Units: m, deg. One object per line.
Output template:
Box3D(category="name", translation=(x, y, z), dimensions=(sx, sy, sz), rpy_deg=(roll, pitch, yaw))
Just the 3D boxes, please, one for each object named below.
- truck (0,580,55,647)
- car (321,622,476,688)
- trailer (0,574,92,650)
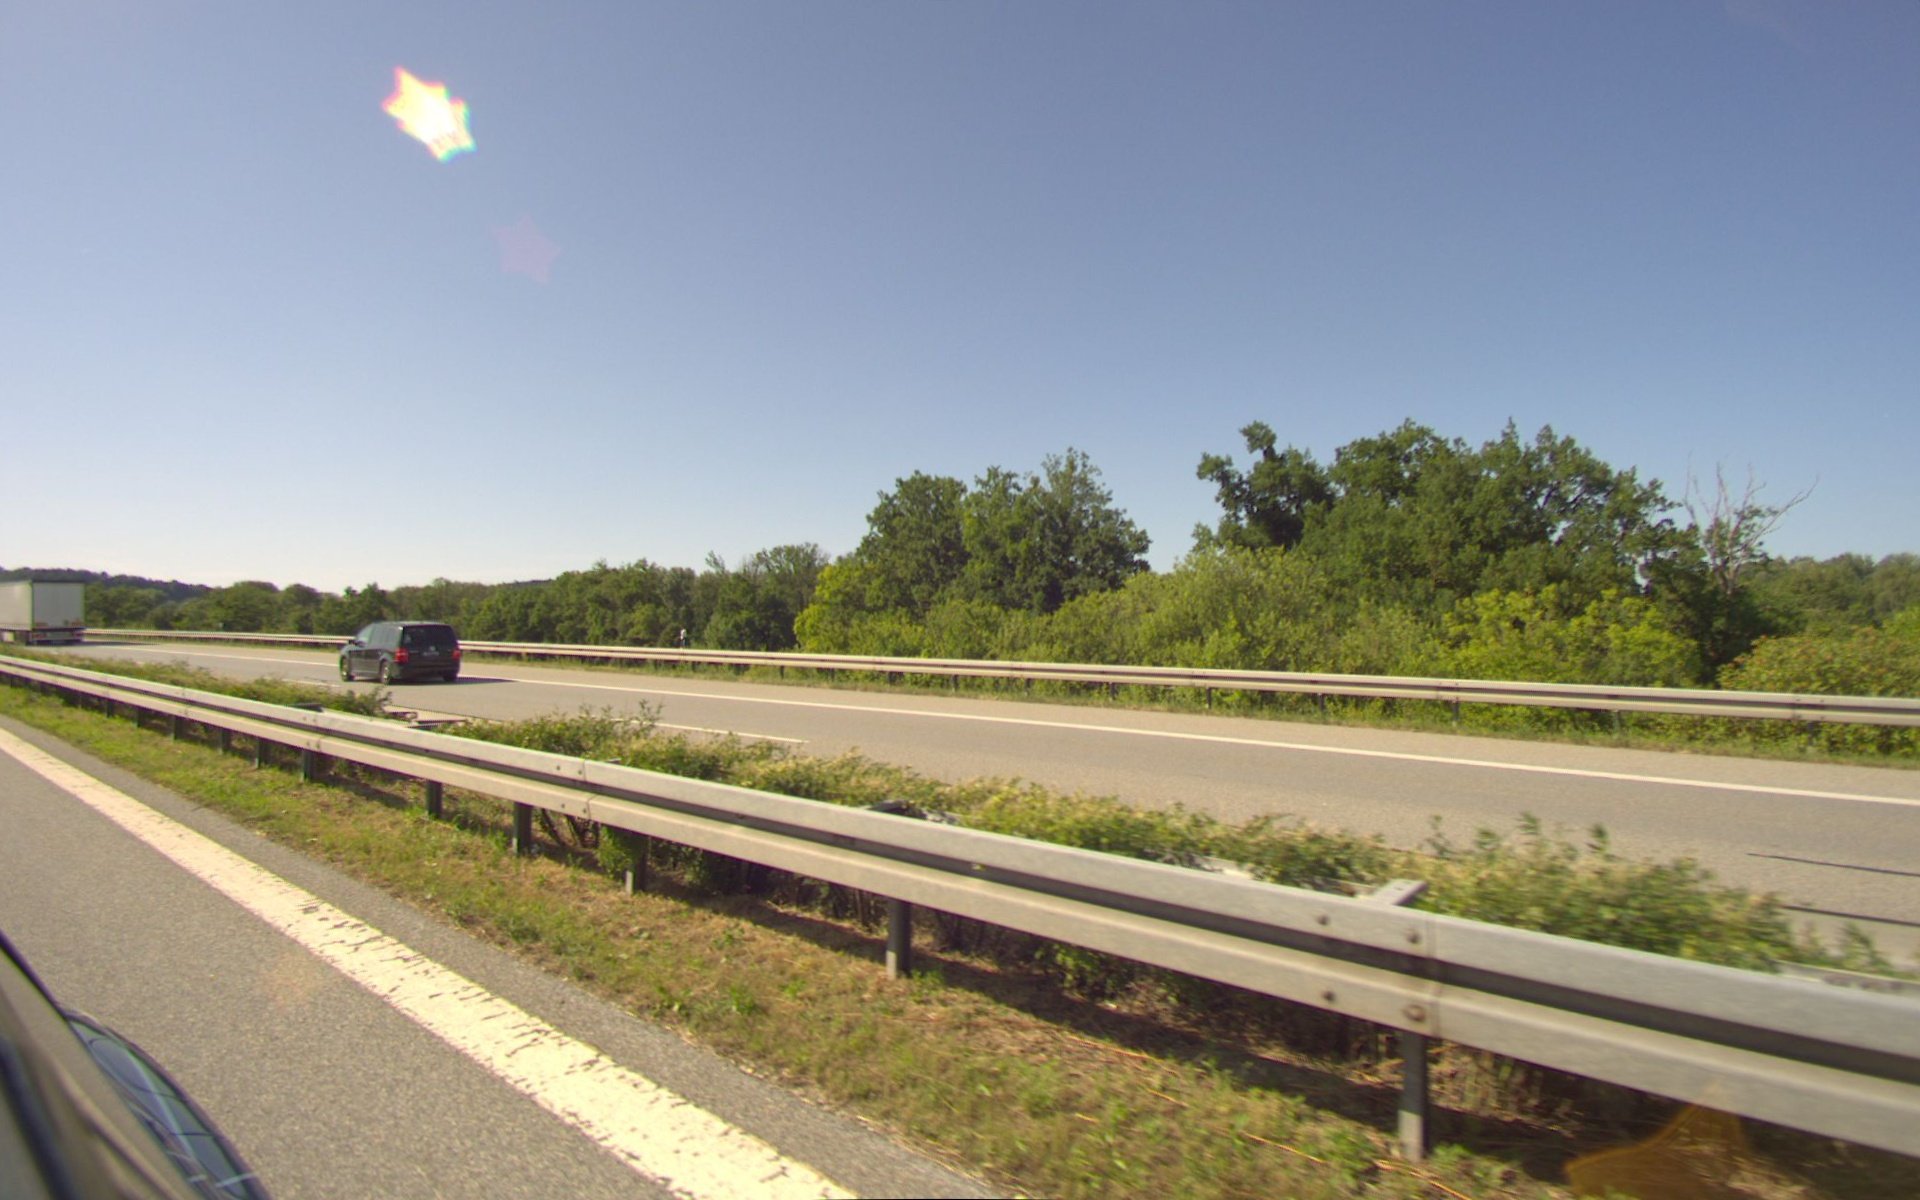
Box3D(category="truck", translation=(-64.571, 0.938, 69.374), dimensions=(5.107, 4.488, 3.064), rpy_deg=(-1, -1, 39))
Box3D(category="car", translation=(-15.052, 1.398, 27.030), dimensions=(4.862, 1.613, 1.940), rpy_deg=(-1, -2, 39))
Box3D(category="trailer", translation=(-59.390, 0.823, 65.091), dimensions=(13.734, 4.488, 3.064), rpy_deg=(-1, -1, 40))
